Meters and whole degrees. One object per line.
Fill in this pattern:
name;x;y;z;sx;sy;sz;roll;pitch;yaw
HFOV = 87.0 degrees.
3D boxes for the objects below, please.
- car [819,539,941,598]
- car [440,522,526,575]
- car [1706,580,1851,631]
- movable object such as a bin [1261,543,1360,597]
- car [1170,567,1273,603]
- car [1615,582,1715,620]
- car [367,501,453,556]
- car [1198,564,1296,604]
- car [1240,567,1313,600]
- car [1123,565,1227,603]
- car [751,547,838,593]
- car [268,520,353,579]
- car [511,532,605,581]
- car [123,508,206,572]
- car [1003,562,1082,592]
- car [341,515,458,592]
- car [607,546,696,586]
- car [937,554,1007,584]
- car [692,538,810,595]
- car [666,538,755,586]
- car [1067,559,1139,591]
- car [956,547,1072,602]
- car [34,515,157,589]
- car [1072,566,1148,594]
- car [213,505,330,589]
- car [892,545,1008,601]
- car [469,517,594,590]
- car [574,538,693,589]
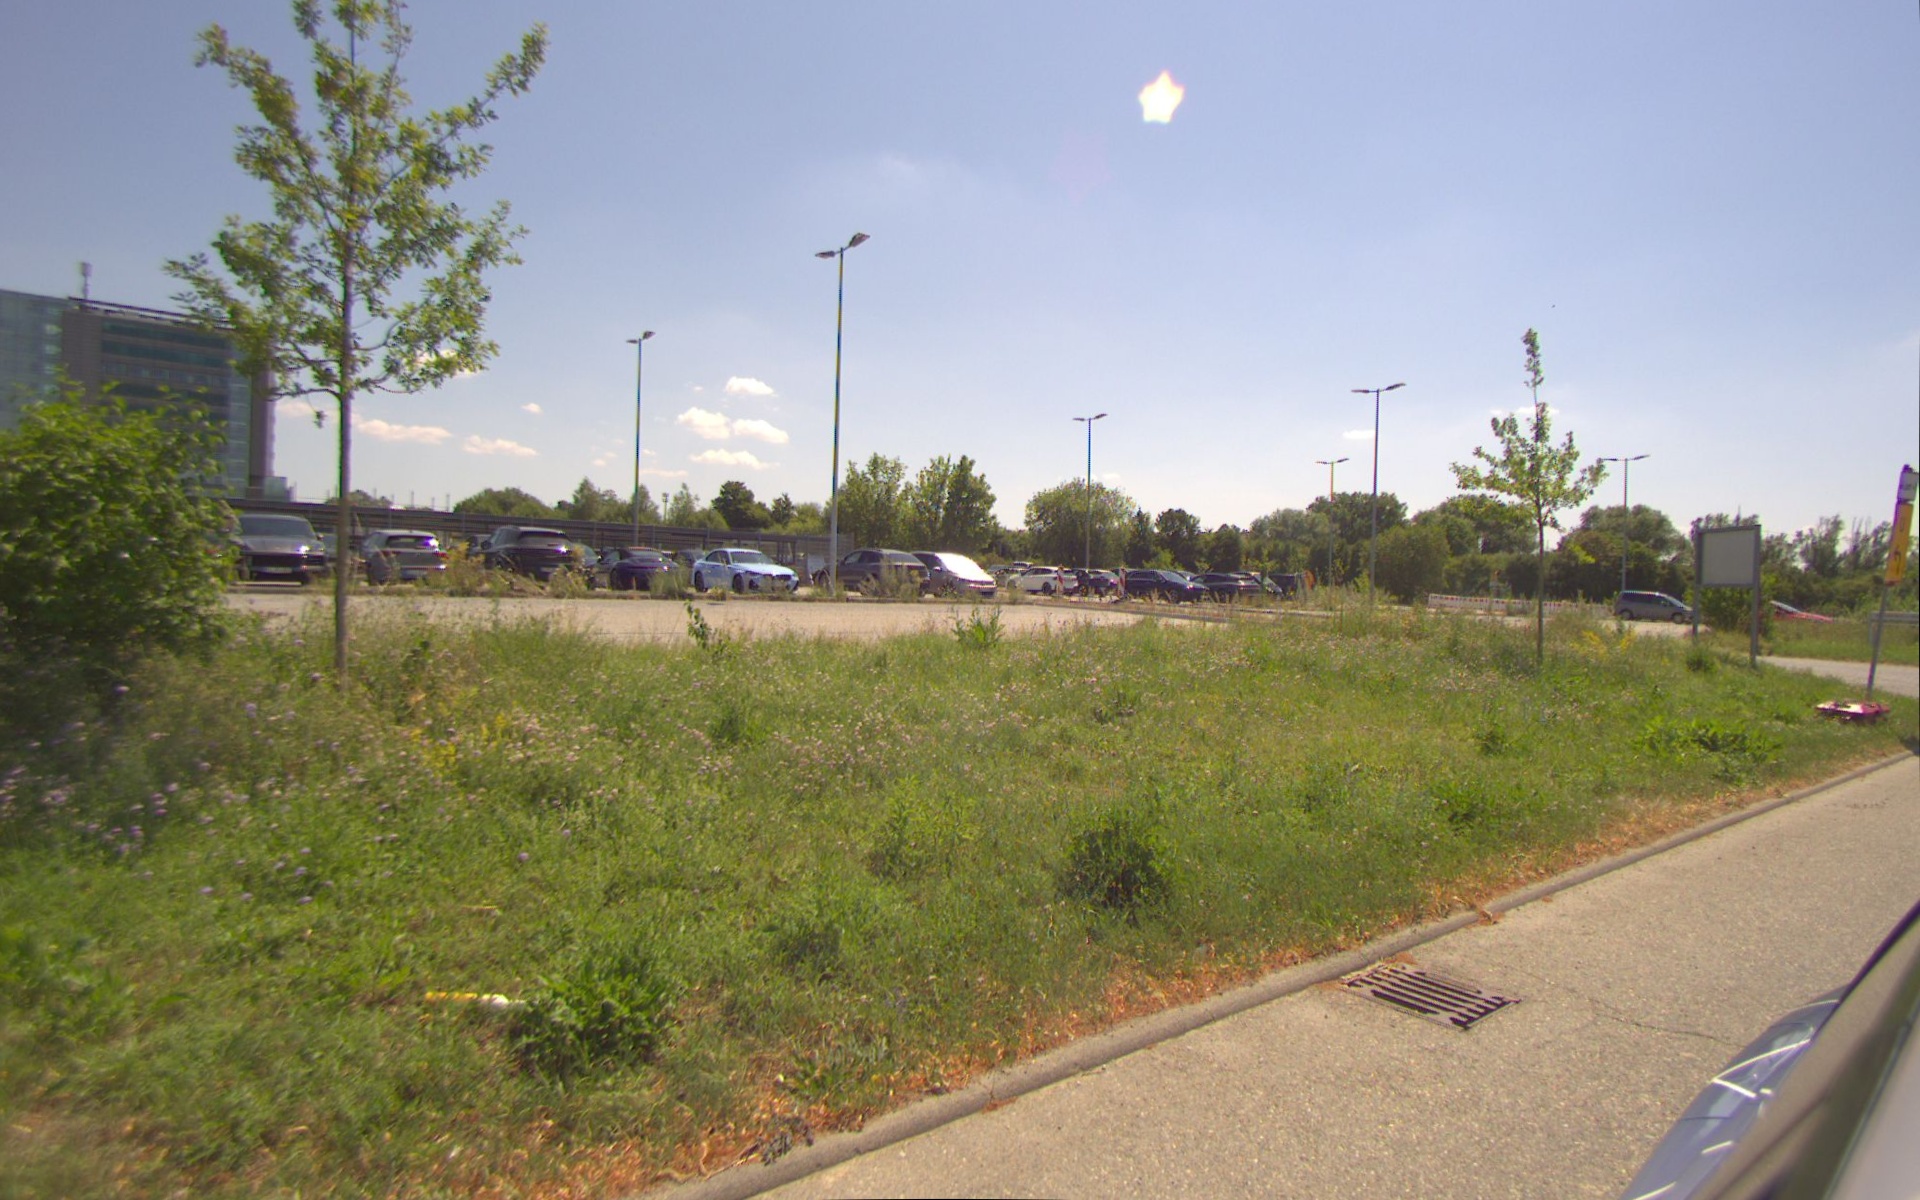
car;-2.712;-1.078;33.384;1.737;1.615;4.377;5;0;-40
car;-16.999;-1.848;35.959;1.737;1.615;3.997;5;0;-40
car;31.803;0.179;39.426;1.891;1.745;4.000;1;2;-36
movable object such as a bin;31.403;-2.728;91.064;8.003;4.095;2.969;5;0;19
car;11.268;-0.664;43.792;1.891;1.412;4.000;1;2;-36
car;42.096;0.041;60.508;1.904;1.938;4.476;3;2;-38
car;-18.657;-2.424;34.266;1.737;1.615;3.997;5;0;-40
car;13.172;-0.774;46.602;1.891;1.661;4.000;1;2;-36
car;19.818;-1.047;63.454;1.726;1.779;3.998;3;2;-39
car;8.954;-0.686;42.360;1.891;1.412;4.000;1;2;-36
car;-7.055;-1.286;42.803;1.737;1.615;3.997;5;0;-40
car;-20.825;-1.637;32.382;1.737;1.615;3.997;5;0;-40
car;-14.885;-1.626;37.382;1.964;1.504;3.996;5;0;-41
car;-23.696;-1.796;30.107;1.737;1.615;3.997;5;0;-40
car;4.194;-1.183;51.975;1.666;1.357;3.995;0;3;-41
car;-13.886;-1.182;24.971;1.737;1.615;3.997;5;0;-40
car;-11.737;-1.303;38.404;1.701;1.207;3.996;5;0;-41
car;0.613;-1.751;56.646;1.666;1.537;3.995;0;3;-41
car;-6.358;-1.040;30.544;1.737;1.410;3.997;5;0;-40
car;-9.930;-1.540;40.110;1.737;1.615;3.997;5;0;-40
car;9.044;-1.596;64.138;3.986;1.660;1.969;5;0;42
car;1.837;-0.925;35.699;1.737;1.615;3.997;5;0;-40
car;-18.124;-1.042;21.314;1.737;1.287;3.997;5;0;-40
car;8.187;-1.095;55.575;1.666;1.357;3.995;0;3;-41
car;-15.747;-1.231;23.053;1.737;1.615;3.997;5;0;-40
car;-0.393;-0.951;34.781;1.737;1.615;3.997;5;0;-40
car;-11.143;-1.230;26.183;1.828;1.615;3.997;5;0;-40
car;-9.165;-1.031;28.213;1.737;1.122;3.997;5;0;-40
